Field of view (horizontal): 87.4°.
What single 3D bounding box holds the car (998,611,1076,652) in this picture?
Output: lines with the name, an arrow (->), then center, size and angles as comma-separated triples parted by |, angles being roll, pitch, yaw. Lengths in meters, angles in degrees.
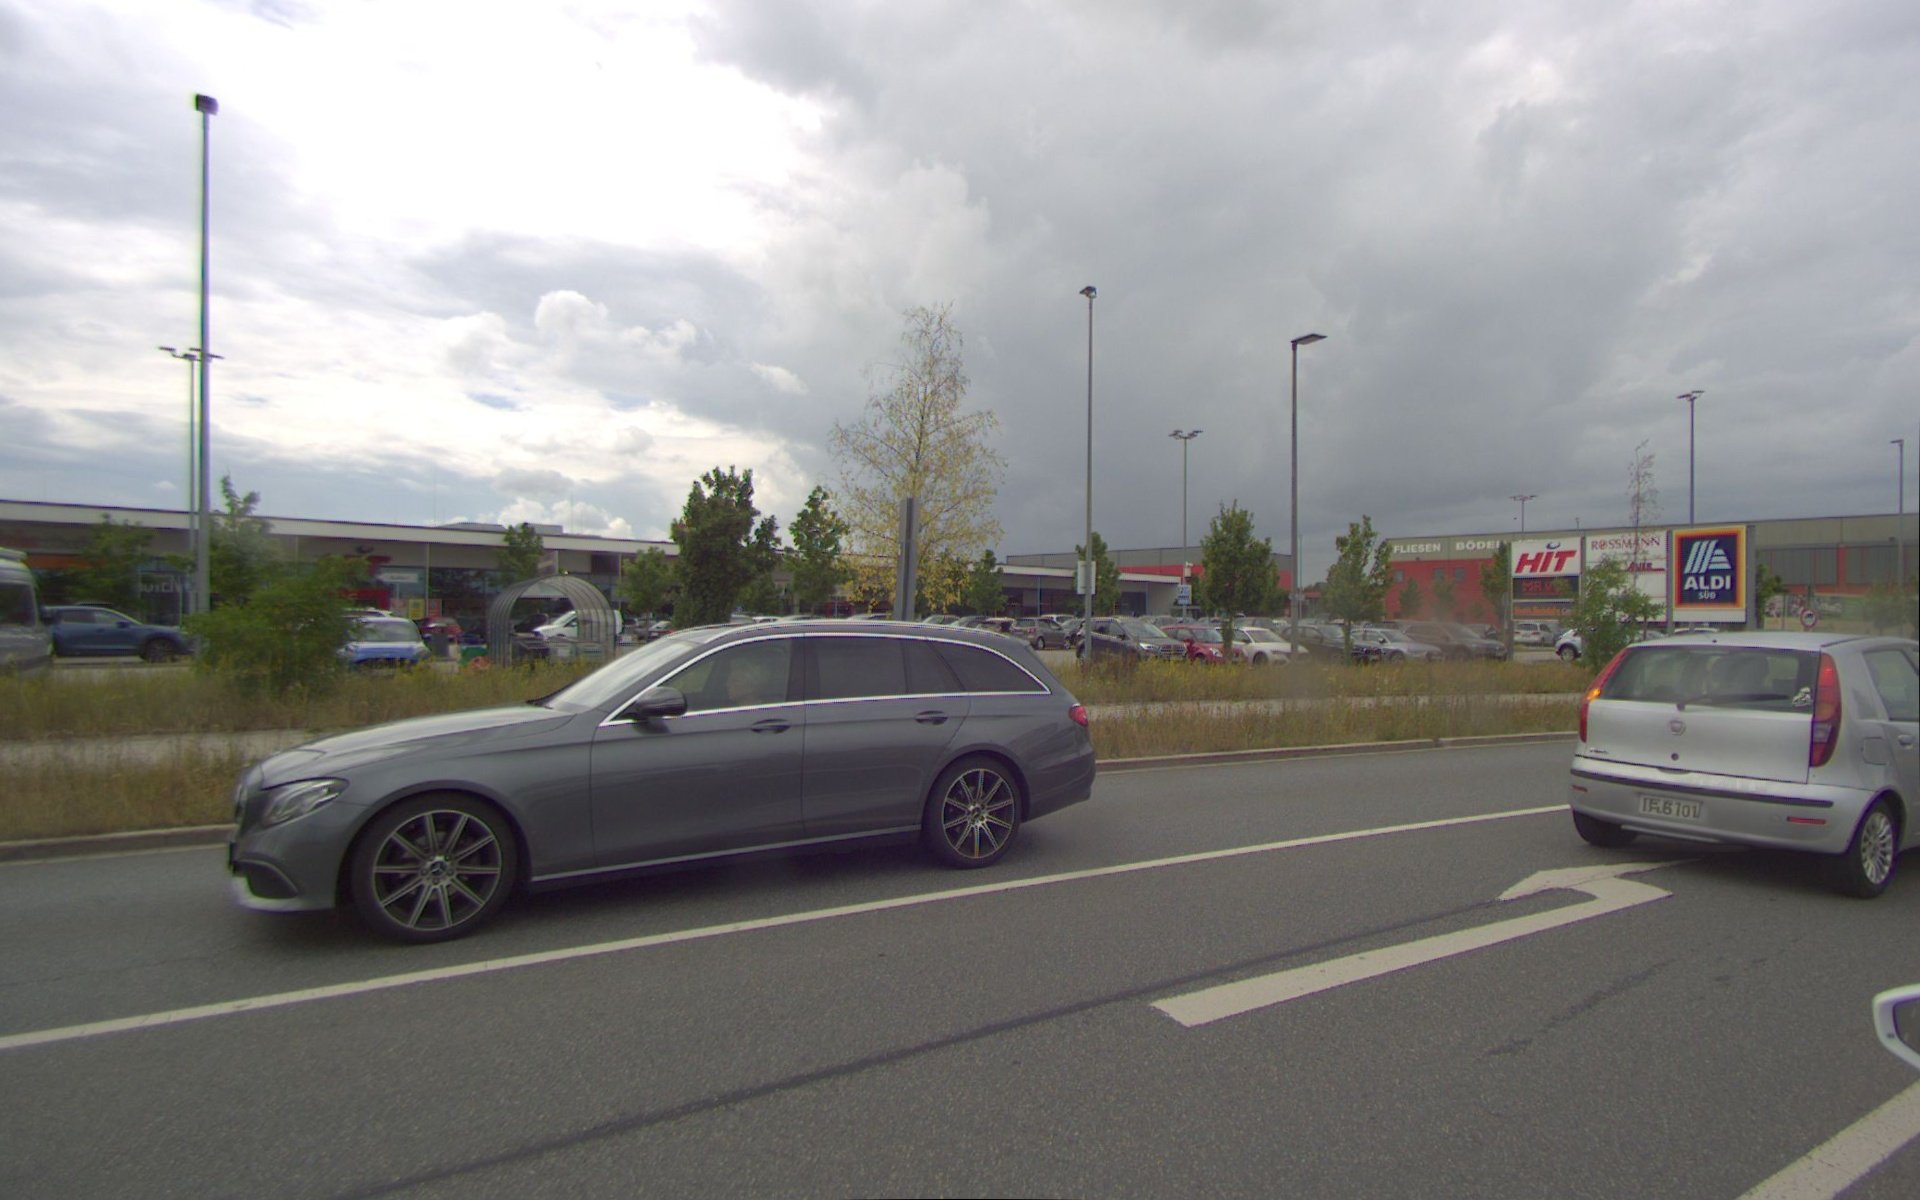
car -> 3.909, 1.572, 50.226 | 1.809, 1.947, 4.431 | 0, -1, 37

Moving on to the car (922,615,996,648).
car -> -0.005, 1.688, 54.075 | 1.812, 1.706, 3.978 | -1, -2, 42

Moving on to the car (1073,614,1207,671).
car -> 5.609, 1.291, 31.857 | 2.054, 1.677, 4.285 | 1, -1, -27

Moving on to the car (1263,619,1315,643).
car -> 22.626, 2.117, 68.988 | 1.971, 1.628, 3.978 | 0, -1, 42

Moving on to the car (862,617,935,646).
car -> -3.528, 1.811, 57.994 | 1.972, 1.566, 3.976 | 0, -1, 43

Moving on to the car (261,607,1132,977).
car -> -1.313, 0.851, 6.133 | 4.714, 1.509, 1.776 | 1, -2, -32

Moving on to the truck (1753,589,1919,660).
truck -> 48.339, 1.345, 54.918 | 8.273, 3.588, 2.855 | 1, 0, -8

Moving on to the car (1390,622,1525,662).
car -> 19.074, 1.563, 38.708 | 2.135, 1.409, 4.348 | 1, -1, -23

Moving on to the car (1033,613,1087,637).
car -> 7.399, 1.835, 73.873 | 1.971, 1.755, 3.978 | 0, -1, 42

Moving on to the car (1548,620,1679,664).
car -> 27.688, 1.750, 42.692 | 2.004, 1.746, 4.223 | 2, -1, -29

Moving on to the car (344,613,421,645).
car -> -28.610, 1.412, 49.733 | 3.990, 1.502, 1.996 | 0, -1, 39

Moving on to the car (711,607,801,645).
car -> -9.652, 1.211, 47.709 | 1.810, 1.706, 3.982 | 0, -1, 39

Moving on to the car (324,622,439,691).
car -> -12.706, 1.171, 22.103 | 1.988, 1.322, 4.303 | 1, -1, -30

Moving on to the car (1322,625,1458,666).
car -> 15.639, 1.625, 36.752 | 2.002, 1.357, 4.295 | 1, -1, -28

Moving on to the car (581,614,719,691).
car -> -5.966, 0.917, 19.033 | 1.984, 1.276, 4.069 | 1, -1, -25

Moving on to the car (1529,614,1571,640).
car -> 43.437, 2.003, 73.911 | 1.970, 1.874, 4.248 | 0, -1, 40

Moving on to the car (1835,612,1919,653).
car -> 62.770, 2.160, 67.137 | 2.228, 2.633, 6.345 | 2, -1, -43

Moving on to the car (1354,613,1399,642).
car -> 31.633, 2.083, 76.279 | 1.971, 2.040, 3.979 | 1, -1, 41

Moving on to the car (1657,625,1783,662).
car -> 34.778, 1.971, 46.056 | 1.969, 1.580, 4.220 | 1, -1, -34

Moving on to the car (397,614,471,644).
car -> -27.304, 1.469, 52.142 | 3.990, 1.502, 1.996 | 0, -1, 39

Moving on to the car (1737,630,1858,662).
car -> 41.343, 2.247, 49.670 | 1.975, 1.454, 4.211 | 1, -1, -31

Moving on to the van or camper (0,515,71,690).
van or camper -> -18.056, 0.036, 18.084 | 2.220, 2.836, 5.816 | 2, -2, -34

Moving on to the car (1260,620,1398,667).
car -> 12.969, 1.500, 35.597 | 2.209, 1.525, 4.353 | 1, -1, -25

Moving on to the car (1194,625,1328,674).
car -> 10.082, 1.627, 34.005 | 1.984, 1.476, 4.304 | 1, -1, -26

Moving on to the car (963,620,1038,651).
car -> 2.148, 1.803, 52.232 | 1.812, 1.528, 3.978 | 0, -1, 42

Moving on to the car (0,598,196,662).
car -> -25.858, 0.893, 30.174 | 1.883, 1.775, 4.366 | 0, -1, 42

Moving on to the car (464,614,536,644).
car -> -24.830, 1.545, 54.177 | 3.990, 1.502, 1.996 | 0, -1, 39

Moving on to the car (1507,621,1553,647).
car -> 39.236, 2.319, 69.123 | 1.971, 1.752, 3.978 | 0, -1, 42

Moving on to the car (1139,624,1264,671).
car -> 7.846, 1.509, 33.012 | 1.972, 1.409, 4.075 | 1, -1, -23

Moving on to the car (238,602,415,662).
car -> -21.875, 1.079, 34.782 | 4.890, 1.924, 2.132 | 1, -1, -43

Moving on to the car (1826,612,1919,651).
car -> 59.075, 1.978, 63.787 | 2.196, 2.337, 6.007 | 2, -1, -45

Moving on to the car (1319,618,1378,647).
car -> 22.987, 1.916, 59.397 | 1.971, 1.628, 3.978 | 0, -1, 42

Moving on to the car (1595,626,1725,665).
car -> 30.335, 1.944, 43.684 | 2.018, 1.533, 4.230 | 1, -1, -24

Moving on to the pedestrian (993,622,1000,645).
pedestrian -> 1.747, 1.622, 48.469 | 0.264, 1.063, 0.391 | 1, 0, -3

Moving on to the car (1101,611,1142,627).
car -> 17.154, 1.995, 106.854 | 1.983, 1.628, 3.955 | 2, -1, -39

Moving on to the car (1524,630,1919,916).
car -> 5.907, 0.954, 6.914 | 3.982, 1.457, 1.695 | 1, -1, -29

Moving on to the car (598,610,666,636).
car -> -19.467, 1.361, 59.615 | 3.990, 1.502, 1.996 | 0, -1, 39

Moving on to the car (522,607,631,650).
car -> -17.885, 1.305, 46.961 | 2.213, 1.899, 4.282 | 0, -1, 43

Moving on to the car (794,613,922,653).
car -> -4.161, 1.358, 41.486 | 5.066, 1.539, 1.976 | 2, -1, -41

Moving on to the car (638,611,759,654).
car -> -10.094, 1.247, 38.983 | 1.971, 1.539, 4.173 | 0, -1, 42
